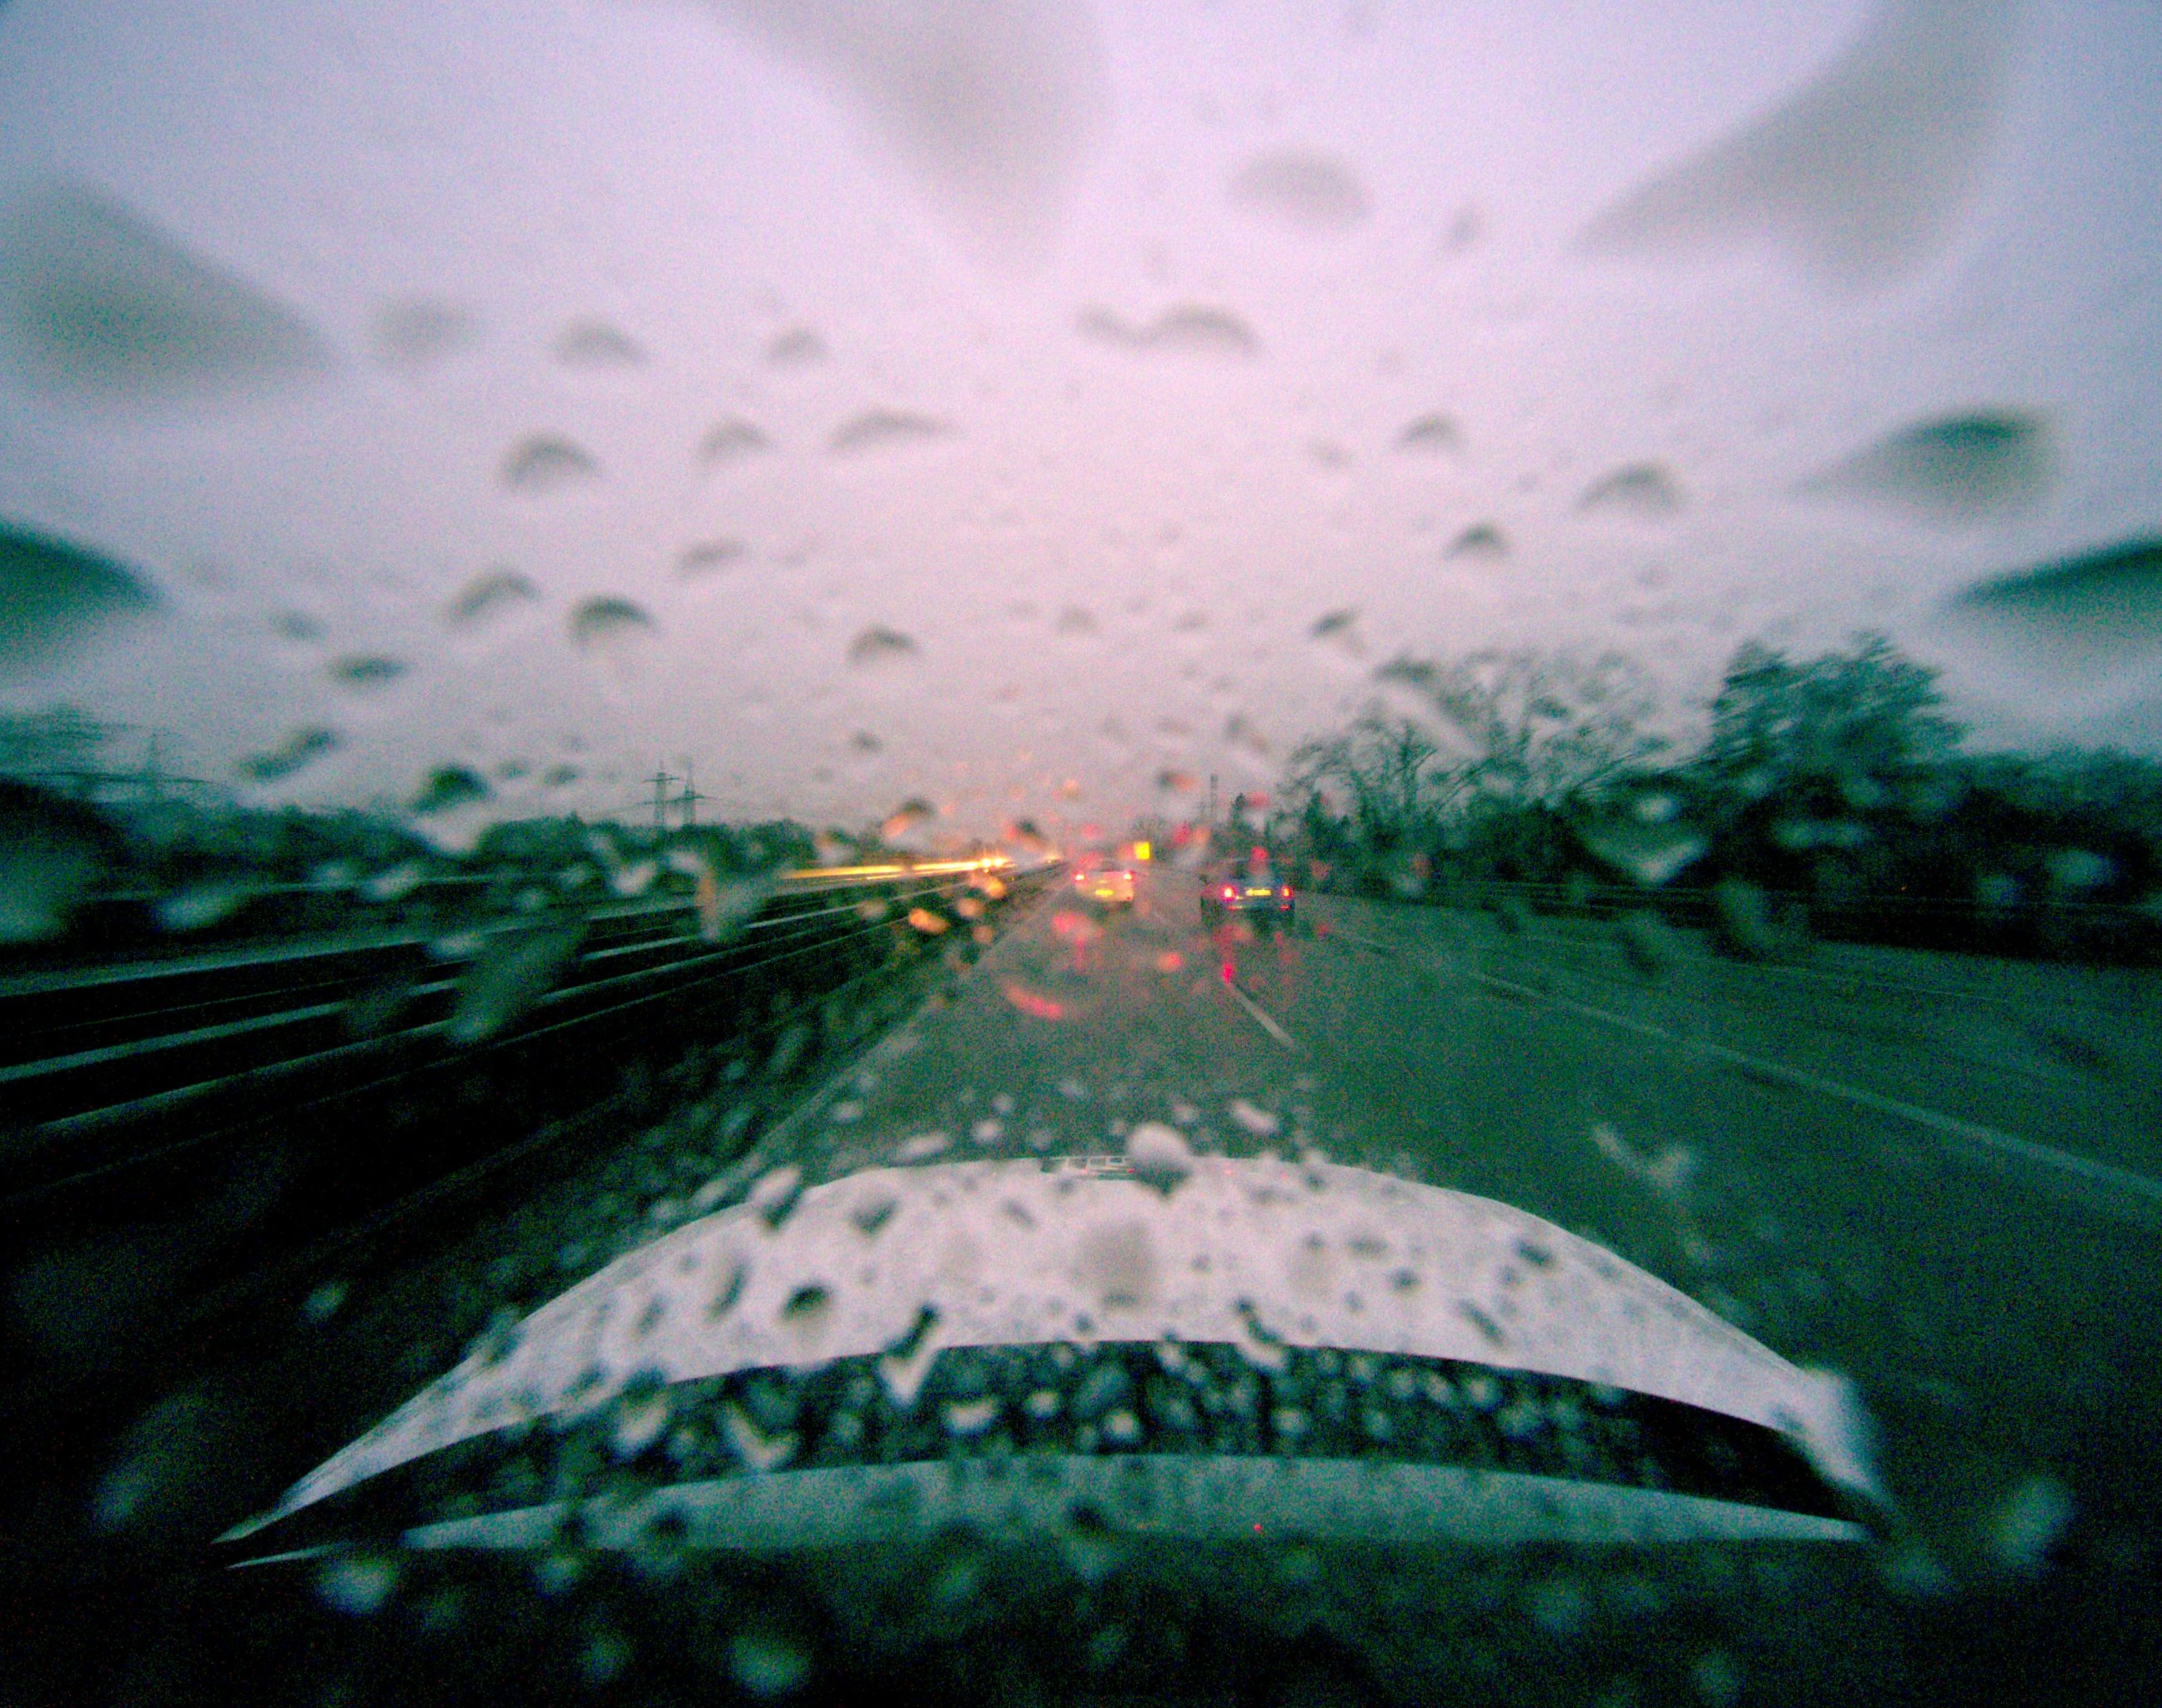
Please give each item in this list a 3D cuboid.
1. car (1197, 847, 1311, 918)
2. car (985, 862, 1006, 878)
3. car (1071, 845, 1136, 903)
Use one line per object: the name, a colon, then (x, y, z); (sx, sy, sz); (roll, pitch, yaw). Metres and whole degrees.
car: (3.914, 0.582, 19.081); (1.839, 1.453, 4.149); (0, 1, 1)
car: (-9.328, 1.705, 88.868); (1.849, 1.566, 3.922); (0, 1, 0)
car: (0.638, 0.565, 25.135); (1.840, 1.636, 3.767); (0, 0, 0)
